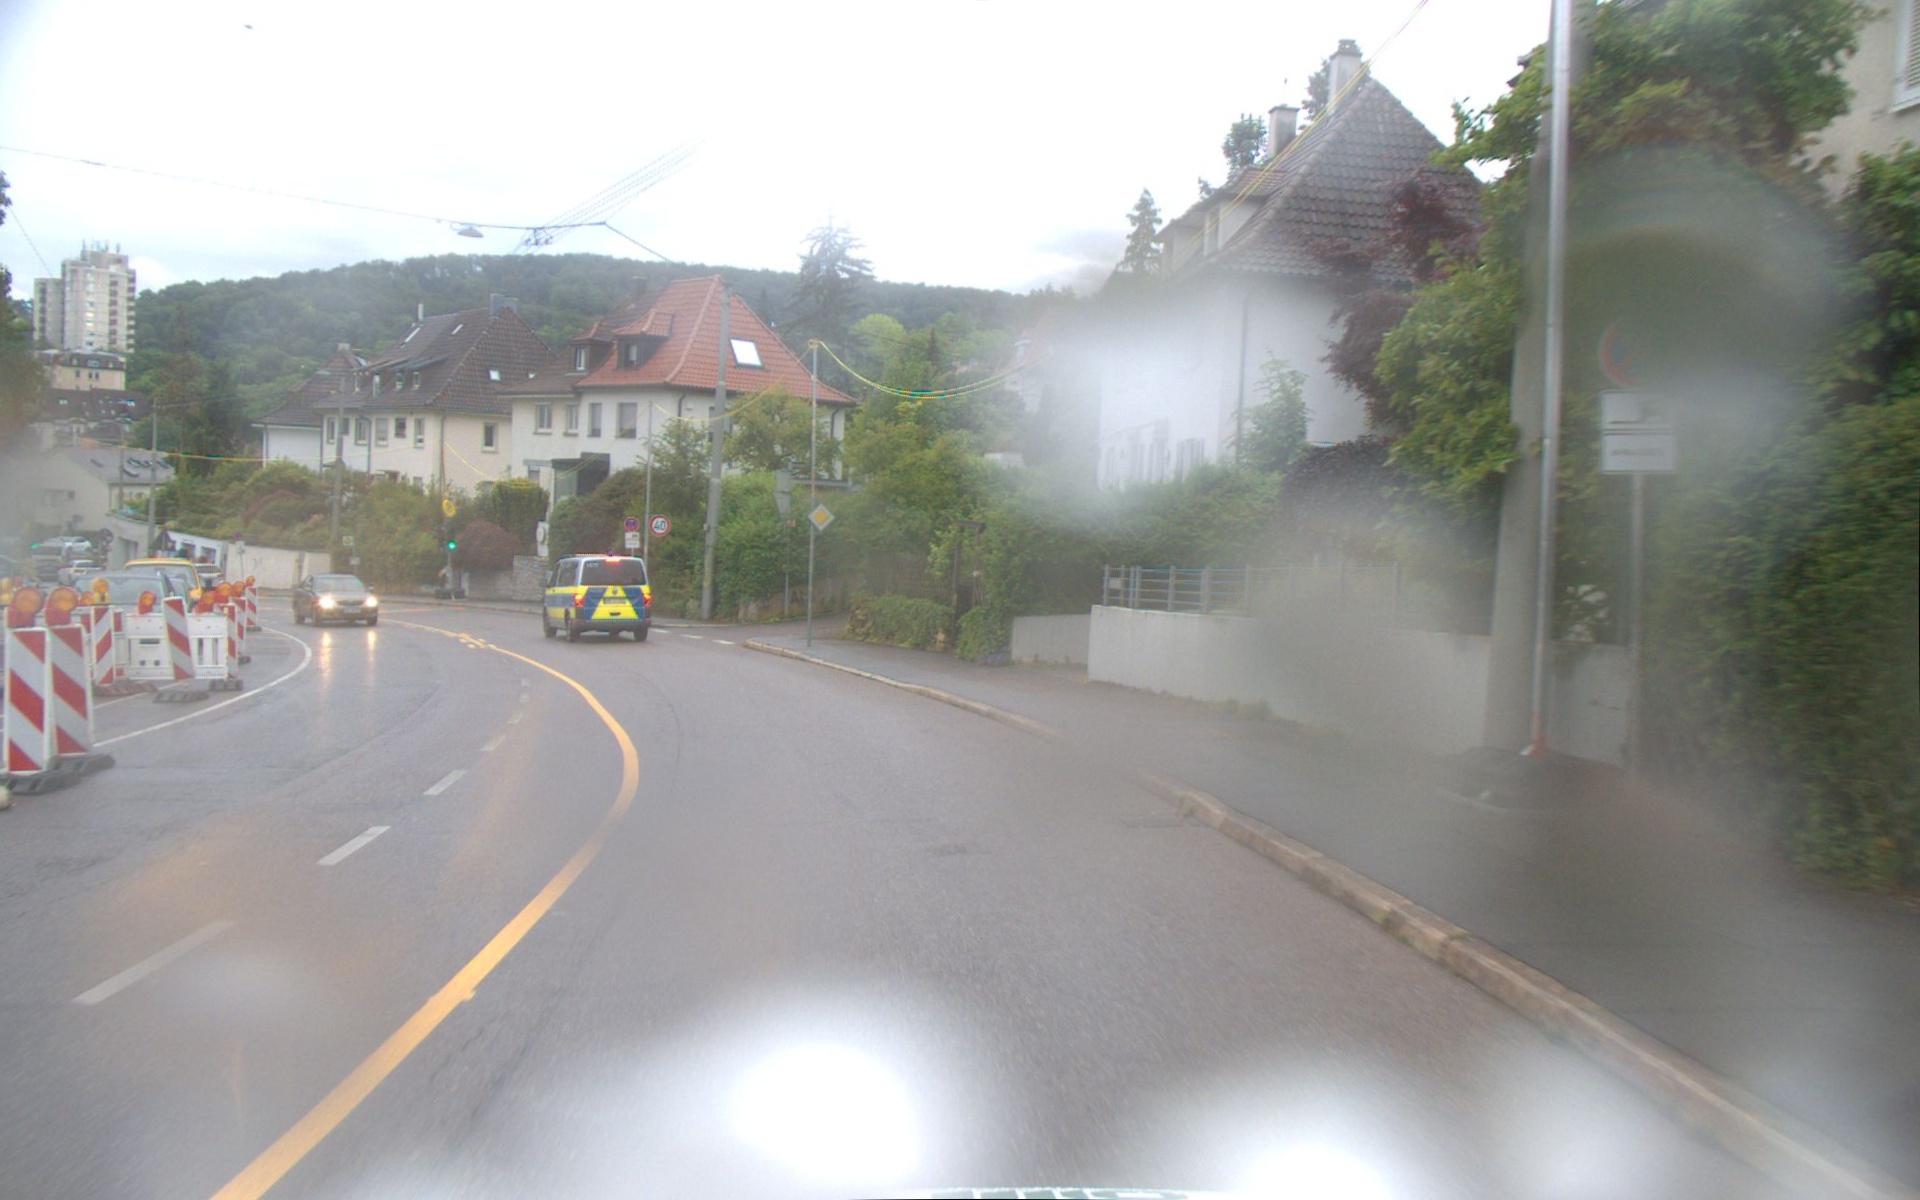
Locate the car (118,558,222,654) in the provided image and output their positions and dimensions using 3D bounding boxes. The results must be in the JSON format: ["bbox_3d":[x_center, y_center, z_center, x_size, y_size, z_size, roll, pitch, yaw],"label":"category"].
[{"bbox_3d":[-18.222,0.116,38.044,1.970,2.049,5.096,1,0,-27],"label":"car"}]

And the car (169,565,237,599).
[{"bbox_3d":[-36.761,-0.880,80.277,1.982,1.601,3.941,1,0,-41],"label":"car"}]

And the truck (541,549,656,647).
[{"bbox_3d":[-8.760,-0.122,39.766,1.966,2.048,4.705,0,4,-22],"label":"truck"}]

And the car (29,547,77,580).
[{"bbox_3d":[-56.765,-2.296,103.498,1.981,1.712,3.946,-2,7,-39],"label":"car"}]

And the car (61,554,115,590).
[{"bbox_3d":[-49.492,-1.618,93.892,1.981,1.712,3.946,-2,7,-39],"label":"car"}]

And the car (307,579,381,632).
[{"bbox_3d":[-18.432,0.143,49.435,1.965,1.489,3.975,1,0,-21],"label":"car"}]
